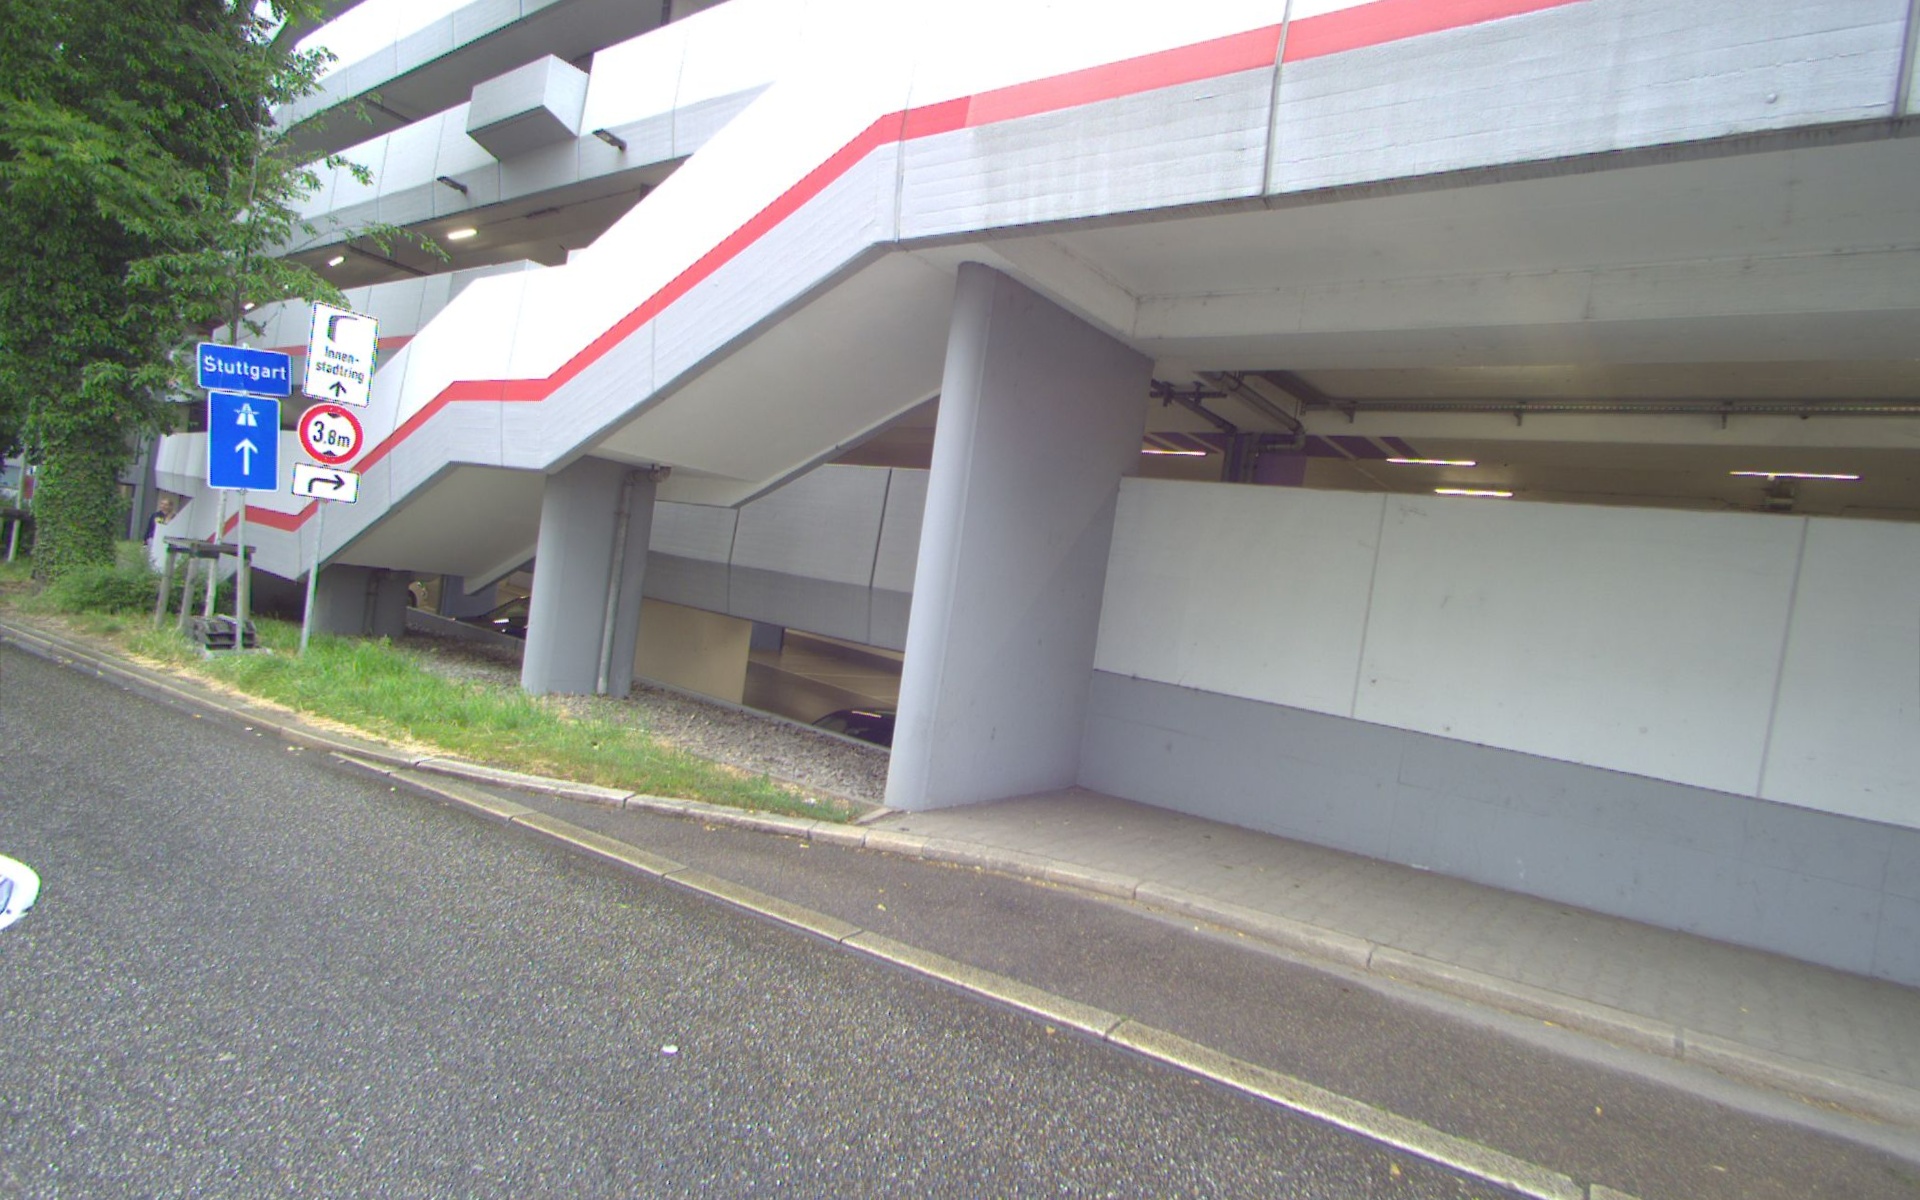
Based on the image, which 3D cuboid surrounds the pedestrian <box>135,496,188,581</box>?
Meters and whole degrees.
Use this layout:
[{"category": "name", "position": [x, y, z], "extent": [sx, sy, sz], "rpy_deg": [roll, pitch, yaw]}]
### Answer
[{"category": "pedestrian", "position": [-15.384, -1.188, 19.387], "extent": [0.481, 1.550, 0.551], "rpy_deg": [6, -1, 38]}]

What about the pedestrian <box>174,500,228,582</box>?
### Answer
[{"category": "pedestrian", "position": [-14.983, -1.164, 19.869], "extent": [0.496, 1.519, 0.582], "rpy_deg": [6, -1, 37]}]
